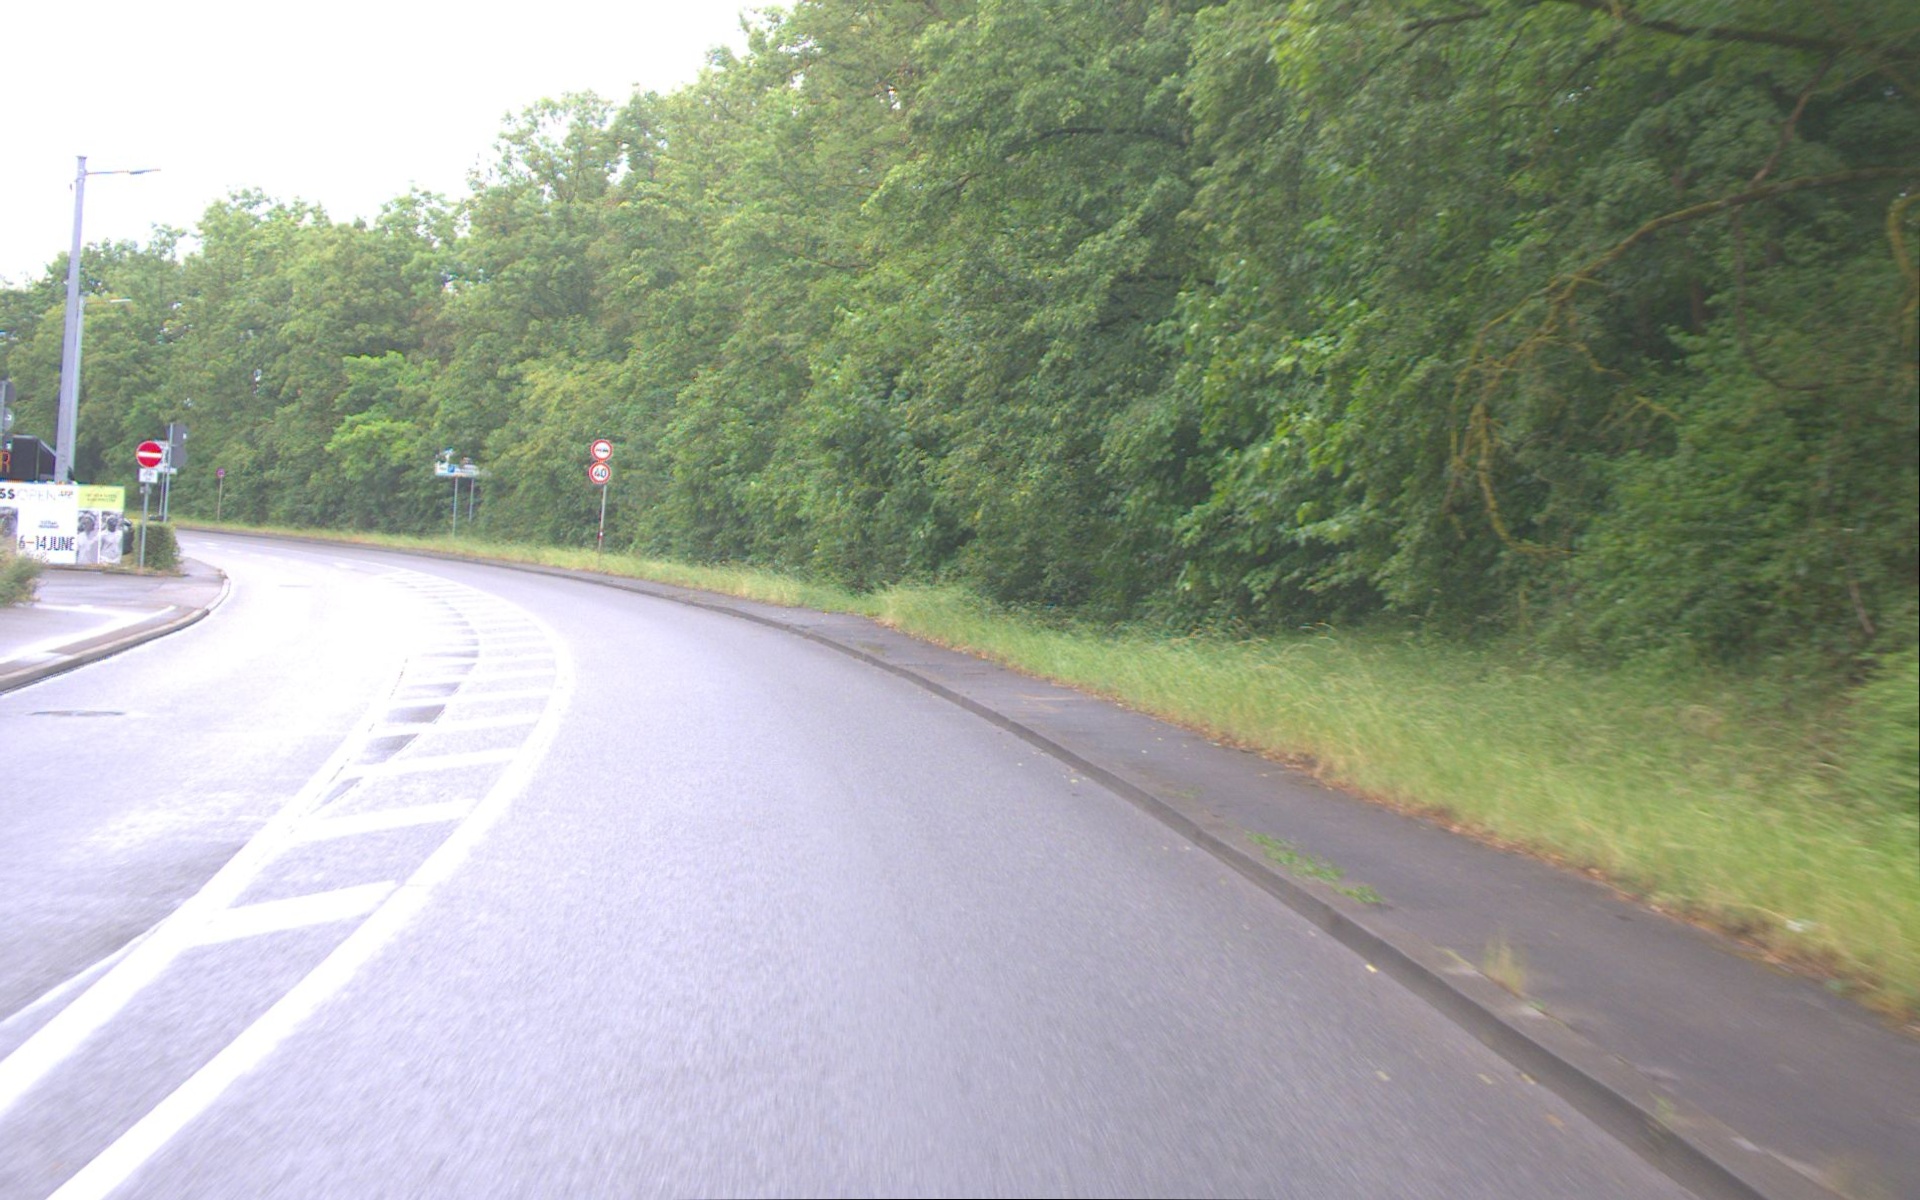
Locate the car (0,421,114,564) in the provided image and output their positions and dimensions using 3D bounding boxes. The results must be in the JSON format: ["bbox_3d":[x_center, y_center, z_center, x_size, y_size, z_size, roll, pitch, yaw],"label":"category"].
[{"bbox_3d":[-24.497,-2.741,86.701,5.945,3.490,2.001,1,1,-19],"label":"car"}]
